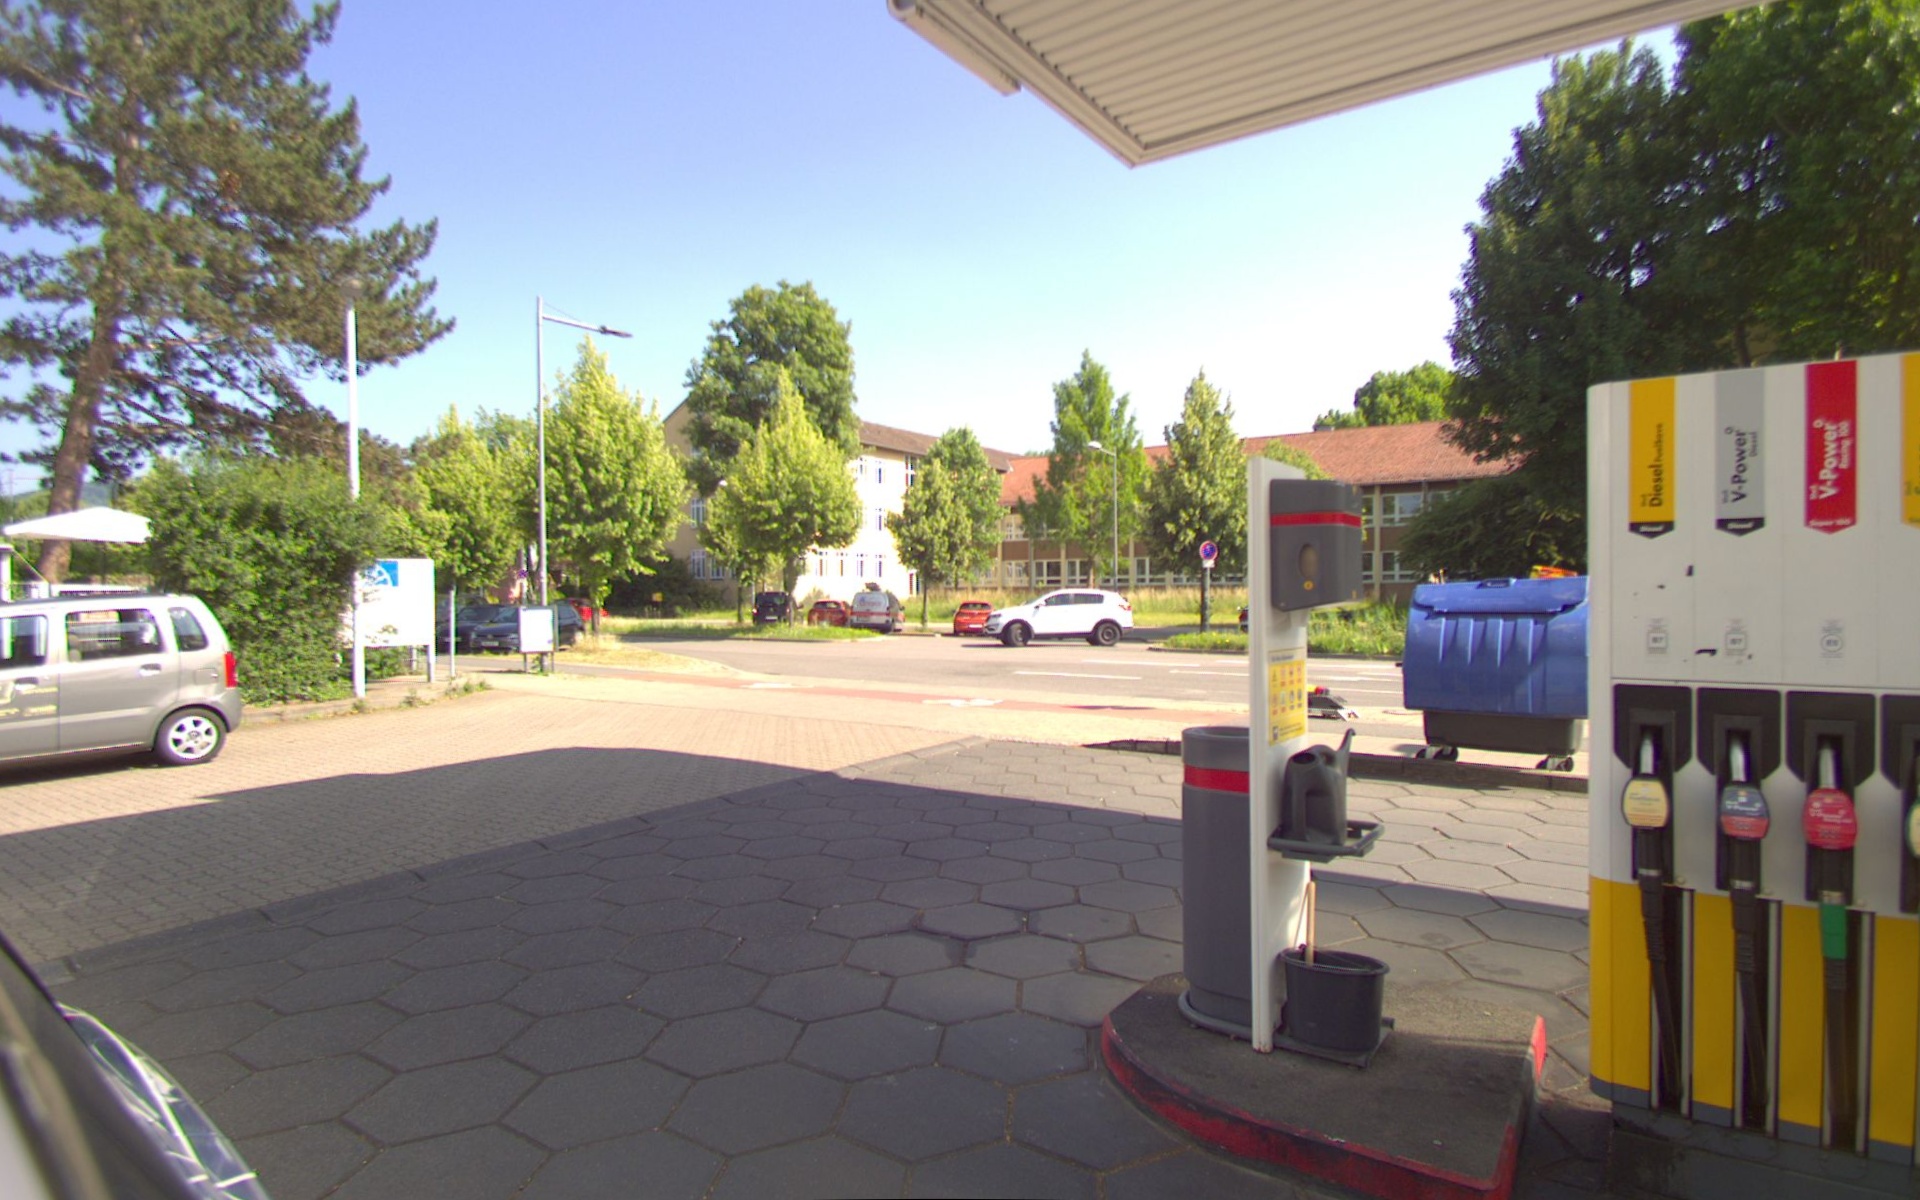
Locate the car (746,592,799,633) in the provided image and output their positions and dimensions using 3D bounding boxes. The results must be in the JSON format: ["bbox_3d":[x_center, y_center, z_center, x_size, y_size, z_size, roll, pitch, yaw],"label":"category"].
[{"bbox_3d":[-8.391,0.580,45.605,1.853,1.735,4.229,1,-1,-4],"label":"car"}]

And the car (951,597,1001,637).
[{"bbox_3d":[0.581,0.660,40.102,1.855,1.471,4.226,1,-1,0],"label":"car"}]

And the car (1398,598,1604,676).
[{"bbox_3d":[13.401,0.850,25.151,4.378,1.782,1.978,0,0,33],"label":"car"}]

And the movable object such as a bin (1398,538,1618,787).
[{"bbox_3d":[4.276,0.446,7.864,1.335,1.701,1.326,0,-2,37],"label":"movable object such as a bin"}]

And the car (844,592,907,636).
[{"bbox_3d":[-3.513,0.590,42.939,1.858,1.735,4.217,1,-1,6],"label":"car"}]

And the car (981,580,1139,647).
[{"bbox_3d":[2.860,0.374,29.640,4.327,1.782,2.001,-1,0,-2],"label":"car"}]

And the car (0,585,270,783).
[{"bbox_3d":[-8.628,0.720,9.128,1.690,1.629,3.617,0,2,37],"label":"car"}]

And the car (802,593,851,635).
[{"bbox_3d":[-5.830,0.612,44.632,1.853,1.735,4.229,1,-1,-4],"label":"car"}]

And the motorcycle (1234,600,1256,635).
[{"bbox_3d":[9.398,0.575,33.406,0.552,1.122,1.752,0,0,12],"label":"motorcycle"}]

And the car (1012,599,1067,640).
[{"bbox_3d":[2.966,0.735,38.538,1.717,1.471,4.226,0,-1,0],"label":"car"}]

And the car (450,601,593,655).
[{"bbox_3d":[-12.608,0.799,29.428,1.860,1.428,4.214,0,-1,9],"label":"car"}]

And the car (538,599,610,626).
[{"bbox_3d":[-21.196,0.695,55.713,1.865,1.401,3.705,1,-1,17],"label":"car"}]

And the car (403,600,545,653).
[{"bbox_3d":[-14.755,0.803,31.008,1.860,1.493,4.214,0,-1,9],"label":"car"}]
